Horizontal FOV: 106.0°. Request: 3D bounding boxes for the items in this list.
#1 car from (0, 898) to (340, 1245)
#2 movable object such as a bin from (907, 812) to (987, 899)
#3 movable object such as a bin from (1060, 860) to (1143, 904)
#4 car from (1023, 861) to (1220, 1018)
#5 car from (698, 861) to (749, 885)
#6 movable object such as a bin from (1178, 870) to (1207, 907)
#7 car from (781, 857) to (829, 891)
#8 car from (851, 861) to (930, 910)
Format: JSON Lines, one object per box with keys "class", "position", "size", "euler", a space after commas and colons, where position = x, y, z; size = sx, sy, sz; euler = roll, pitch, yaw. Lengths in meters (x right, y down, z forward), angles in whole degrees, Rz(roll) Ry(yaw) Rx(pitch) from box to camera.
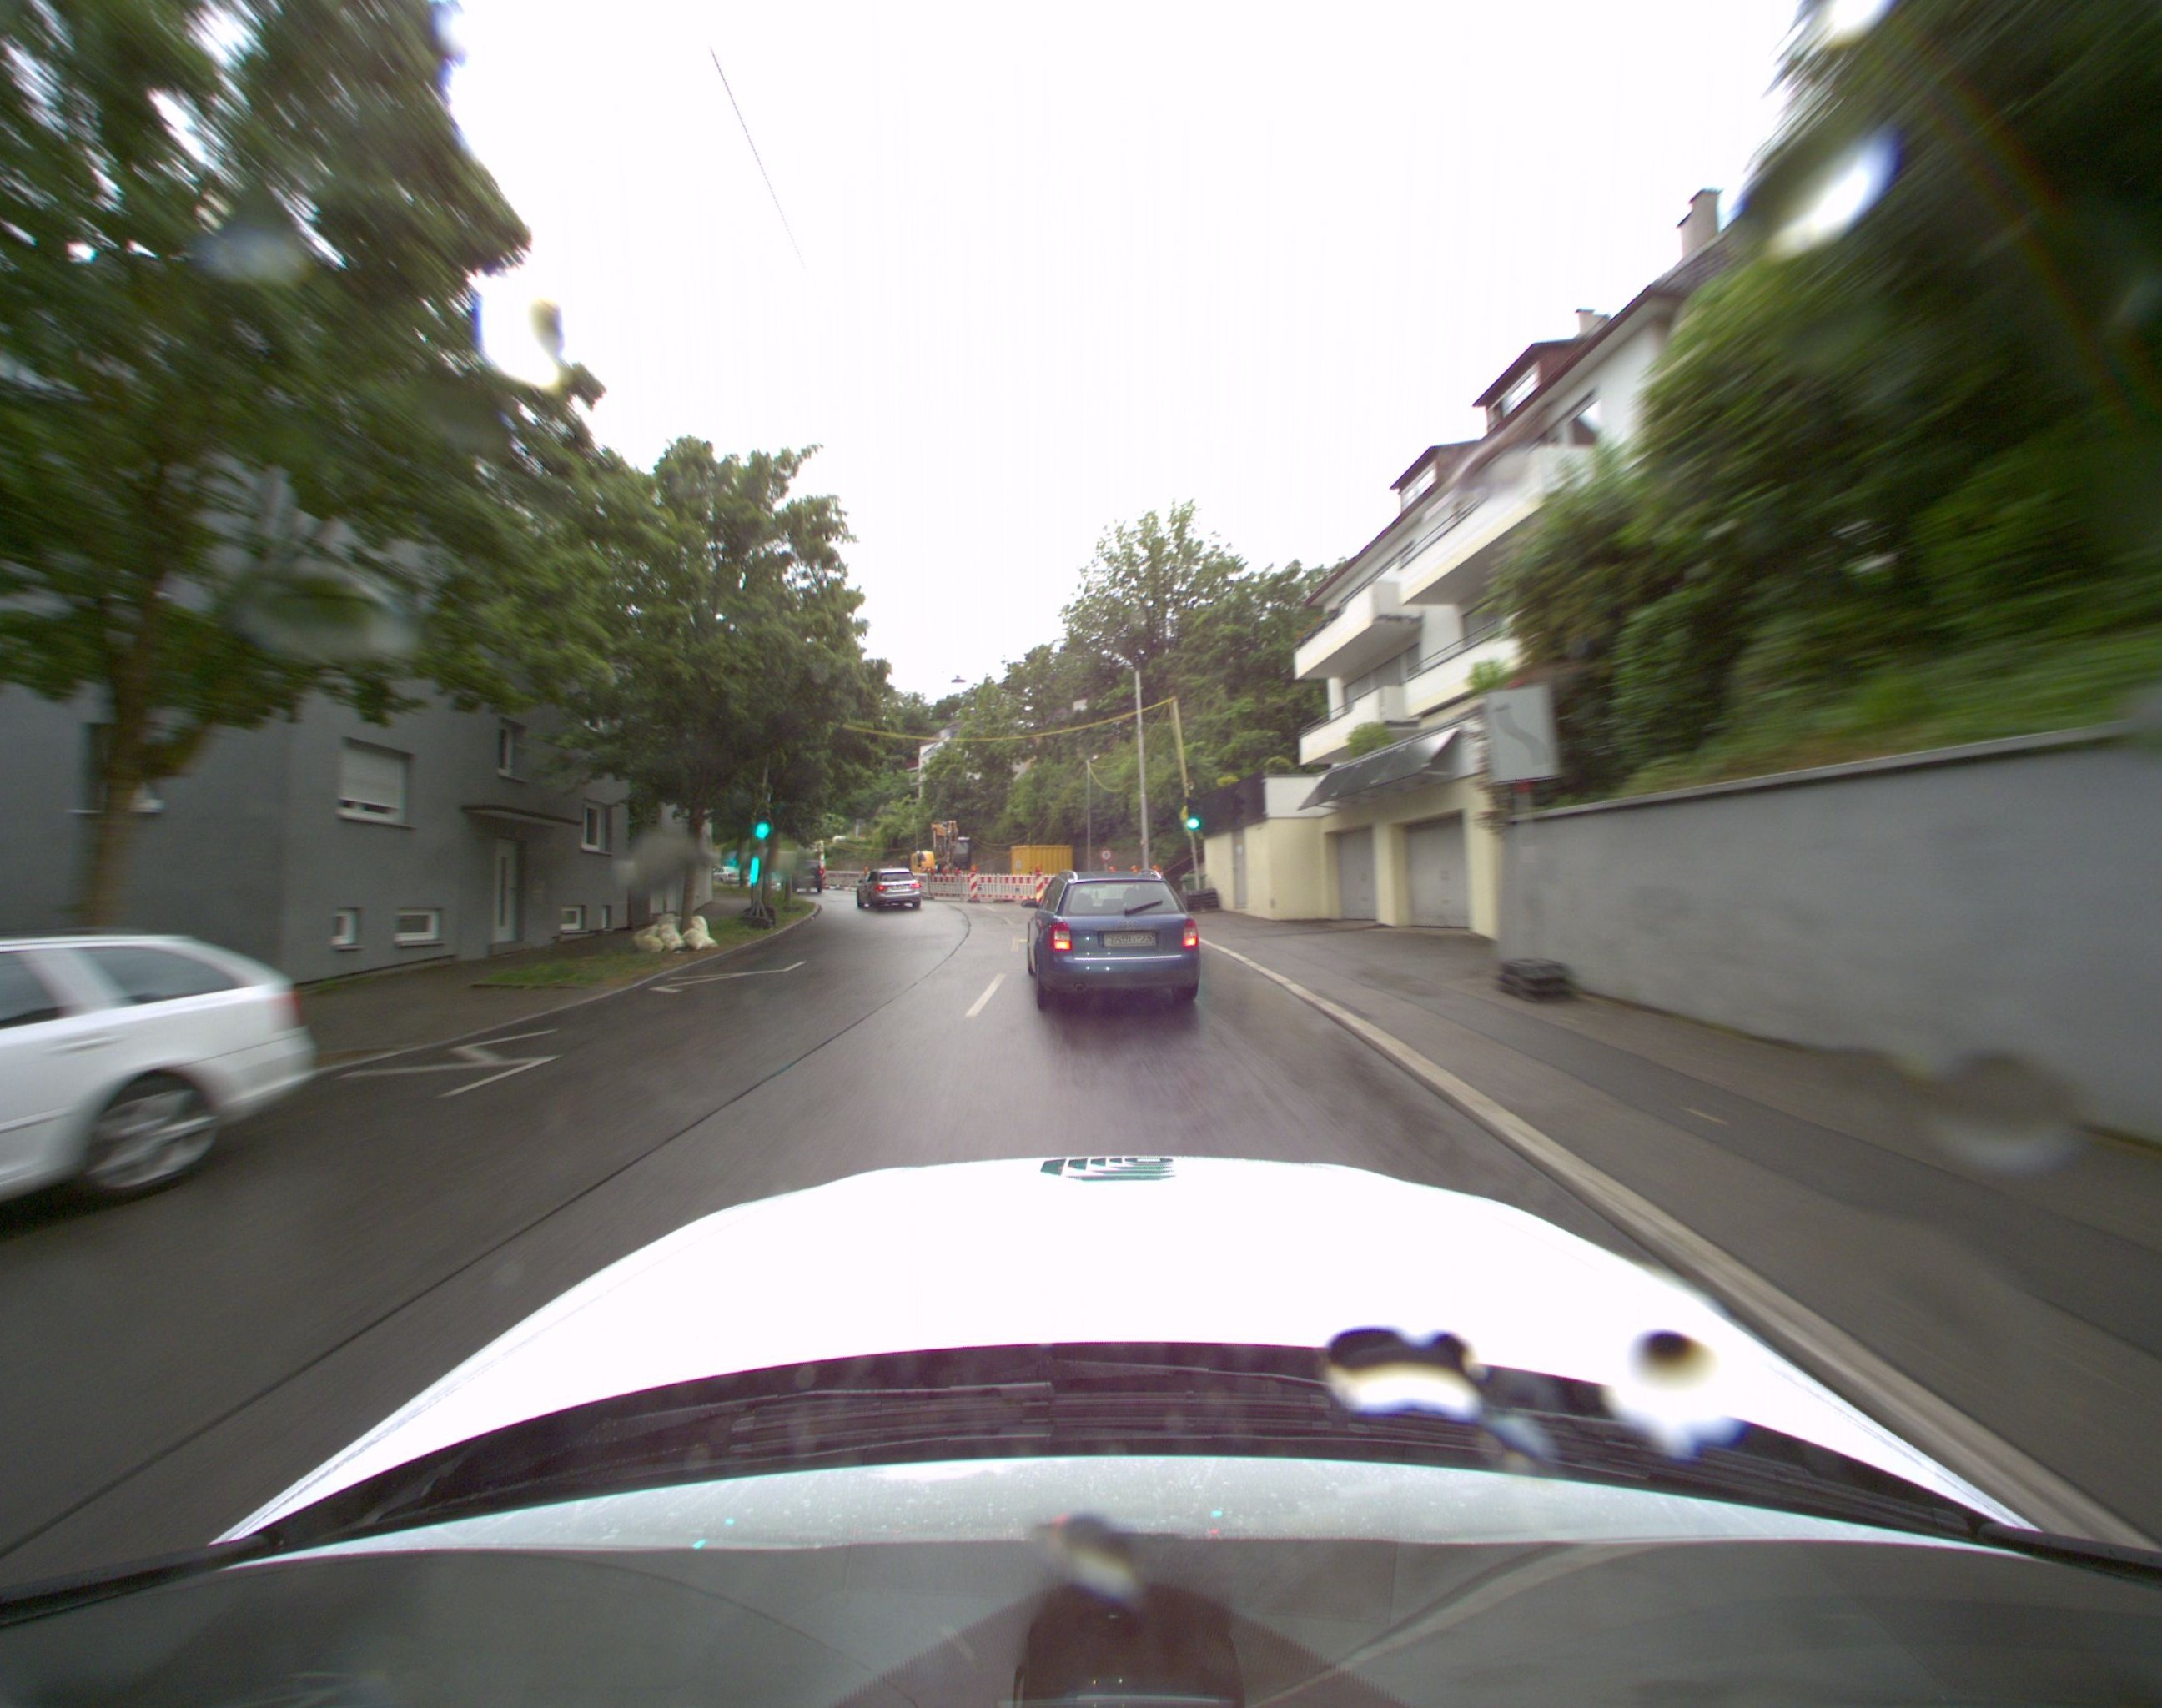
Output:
{"class": "car", "position": [-5.876, 1.100, 3.244], "size": [1.675, 1.508, 4.319], "euler": [-4, 0, 3]}
{"class": "movable object such as a bin", "position": [-6.980, 0.055, 41.592], "size": [2.828, 4.014, 7.281], "euler": [-2, 0, -18]}
{"class": "movable object such as a bin", "position": [0.723, 1.010, 31.504], "size": [1.999, 1.519, 3.975], "euler": [-1, 0, -18]}
{"class": "car", "position": [0.263, 0.843, 9.884], "size": [1.783, 1.442, 3.955], "euler": [-2, -1, -6]}
{"class": "car", "position": [-25.453, 1.380, 57.940], "size": [4.024, 1.486, 1.737], "euler": [-4, -1, 42]}
{"class": "movable object such as a bin", "position": [3.236, 1.000, 23.667], "size": [0.717, 1.032, 0.592], "euler": [-2, -1, -1]}
{"class": "car", "position": [-15.969, 1.154, 46.971], "size": [2.005, 1.794, 3.964], "euler": [-3, -1, -27]}
{"class": "car", "position": [-7.128, 1.097, 30.148], "size": [1.936, 1.618, 4.283], "euler": [-2, 0, -26]}
